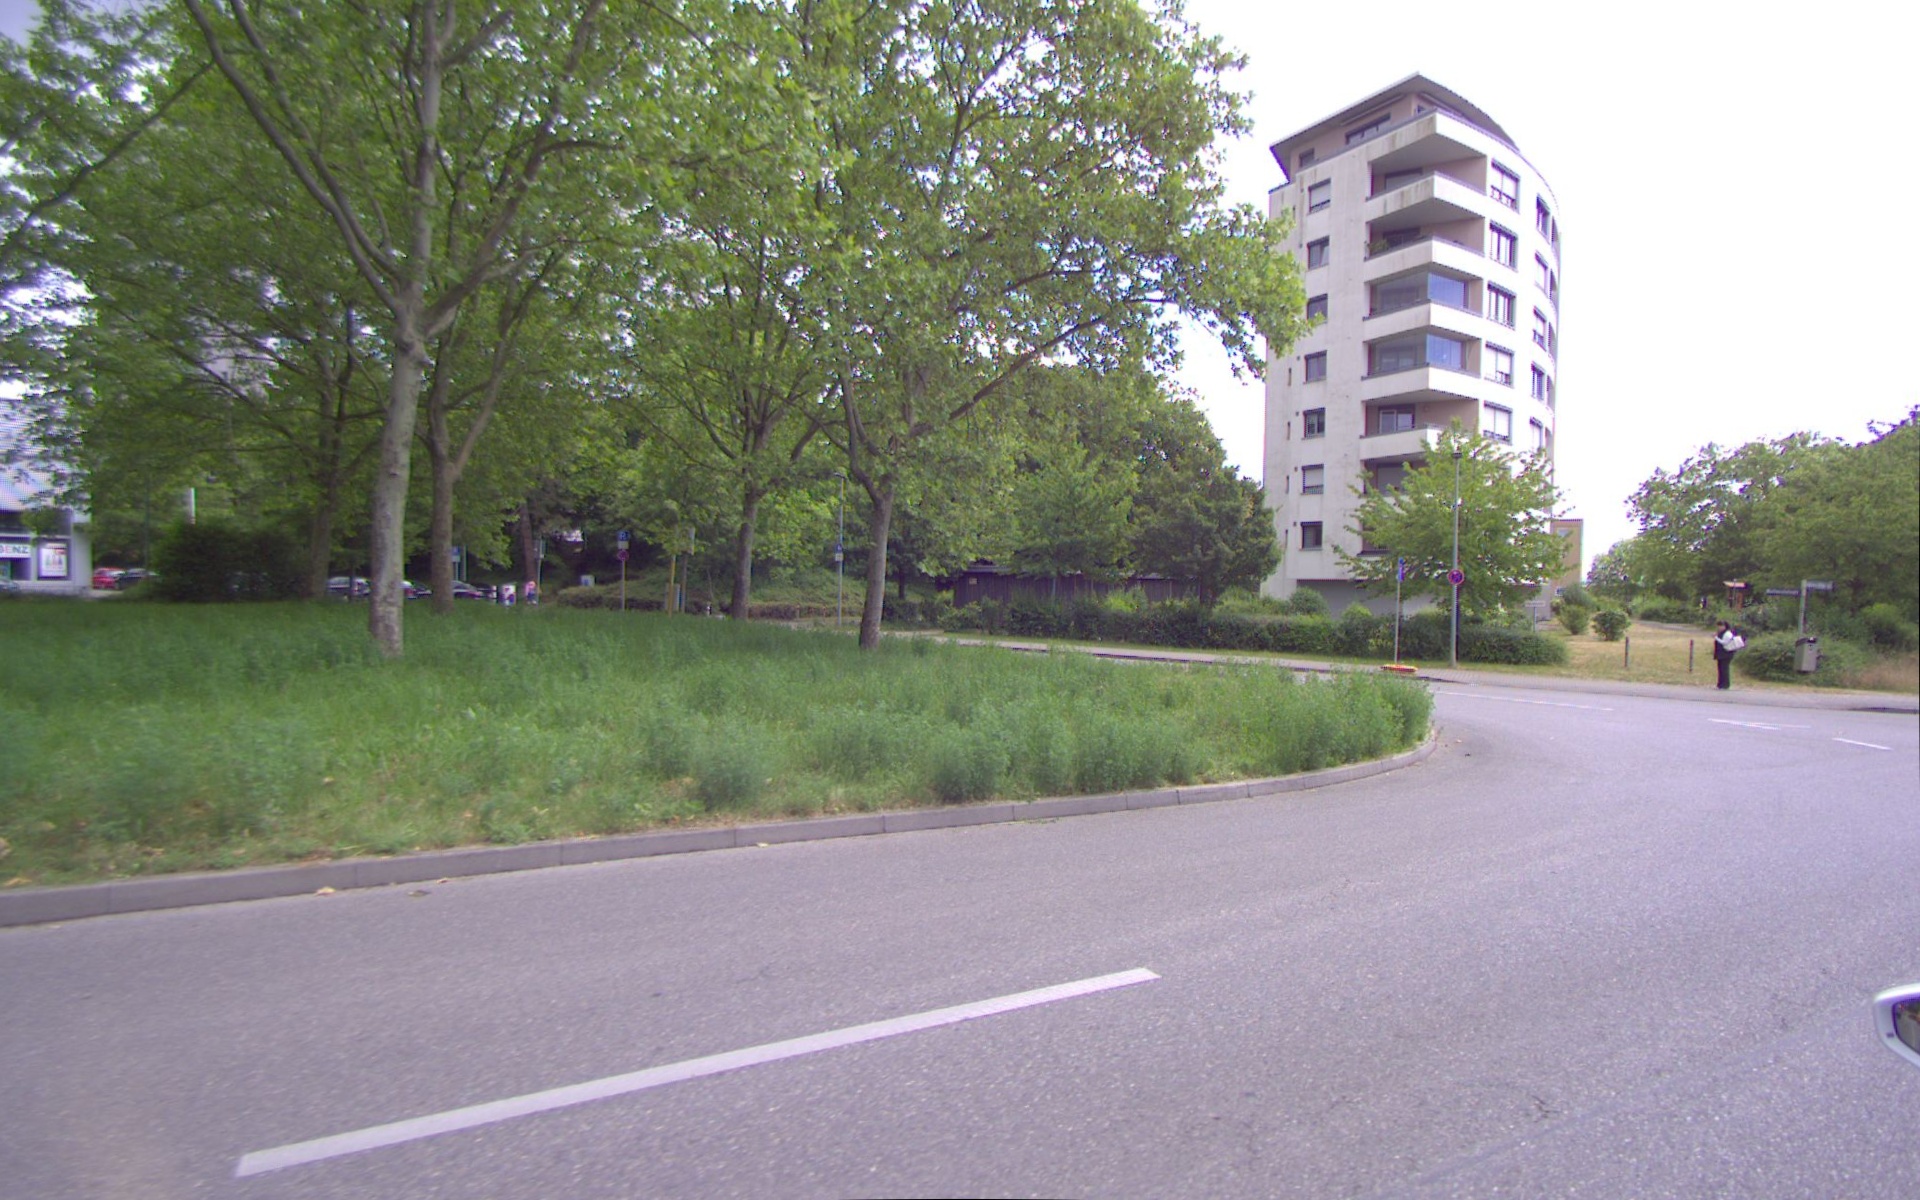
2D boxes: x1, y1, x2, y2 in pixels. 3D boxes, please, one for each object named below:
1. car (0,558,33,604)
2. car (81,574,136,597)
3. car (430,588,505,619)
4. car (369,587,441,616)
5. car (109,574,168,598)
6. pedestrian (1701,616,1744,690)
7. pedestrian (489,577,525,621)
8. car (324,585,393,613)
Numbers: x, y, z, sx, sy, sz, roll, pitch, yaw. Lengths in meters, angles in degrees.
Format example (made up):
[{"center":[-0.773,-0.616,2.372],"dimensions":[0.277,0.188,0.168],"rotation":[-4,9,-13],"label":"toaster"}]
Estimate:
[{"center":[-28.405,-0.592,28.961],"dimensions":[3.192,1.272,1.691],"rotation":[2,0,32],"label":"car"},{"center":[-57.729,-0.945,68.051],"dimensions":[3.931,1.503,1.734],"rotation":[0,0,32],"label":"car"},{"center":[-23.250,0.150,47.420],"dimensions":[3.251,1.339,1.598],"rotation":[2,0,28],"label":"car"},{"center":[-27.541,0.057,49.816],"dimensions":[3.251,1.339,1.598],"rotation":[2,0,28],"label":"car"},{"center":[-52.481,-0.863,64.131],"dimensions":[3.931,1.503,1.734],"rotation":[0,0,32],"label":"car"},{"center":[18.569,1.274,24.475],"dimensions":[0.810,1.746,0.774],"rotation":[1,1,38],"label":"pedestrian"},{"center":[-20.418,-0.048,45.308],"dimensions":[0.966,1.976,1.085],"rotation":[1,0,14],"label":"pedestrian"},{"center":[-31.007,-0.065,51.799],"dimensions":[3.251,1.339,1.598],"rotation":[2,0,28],"label":"car"}]
